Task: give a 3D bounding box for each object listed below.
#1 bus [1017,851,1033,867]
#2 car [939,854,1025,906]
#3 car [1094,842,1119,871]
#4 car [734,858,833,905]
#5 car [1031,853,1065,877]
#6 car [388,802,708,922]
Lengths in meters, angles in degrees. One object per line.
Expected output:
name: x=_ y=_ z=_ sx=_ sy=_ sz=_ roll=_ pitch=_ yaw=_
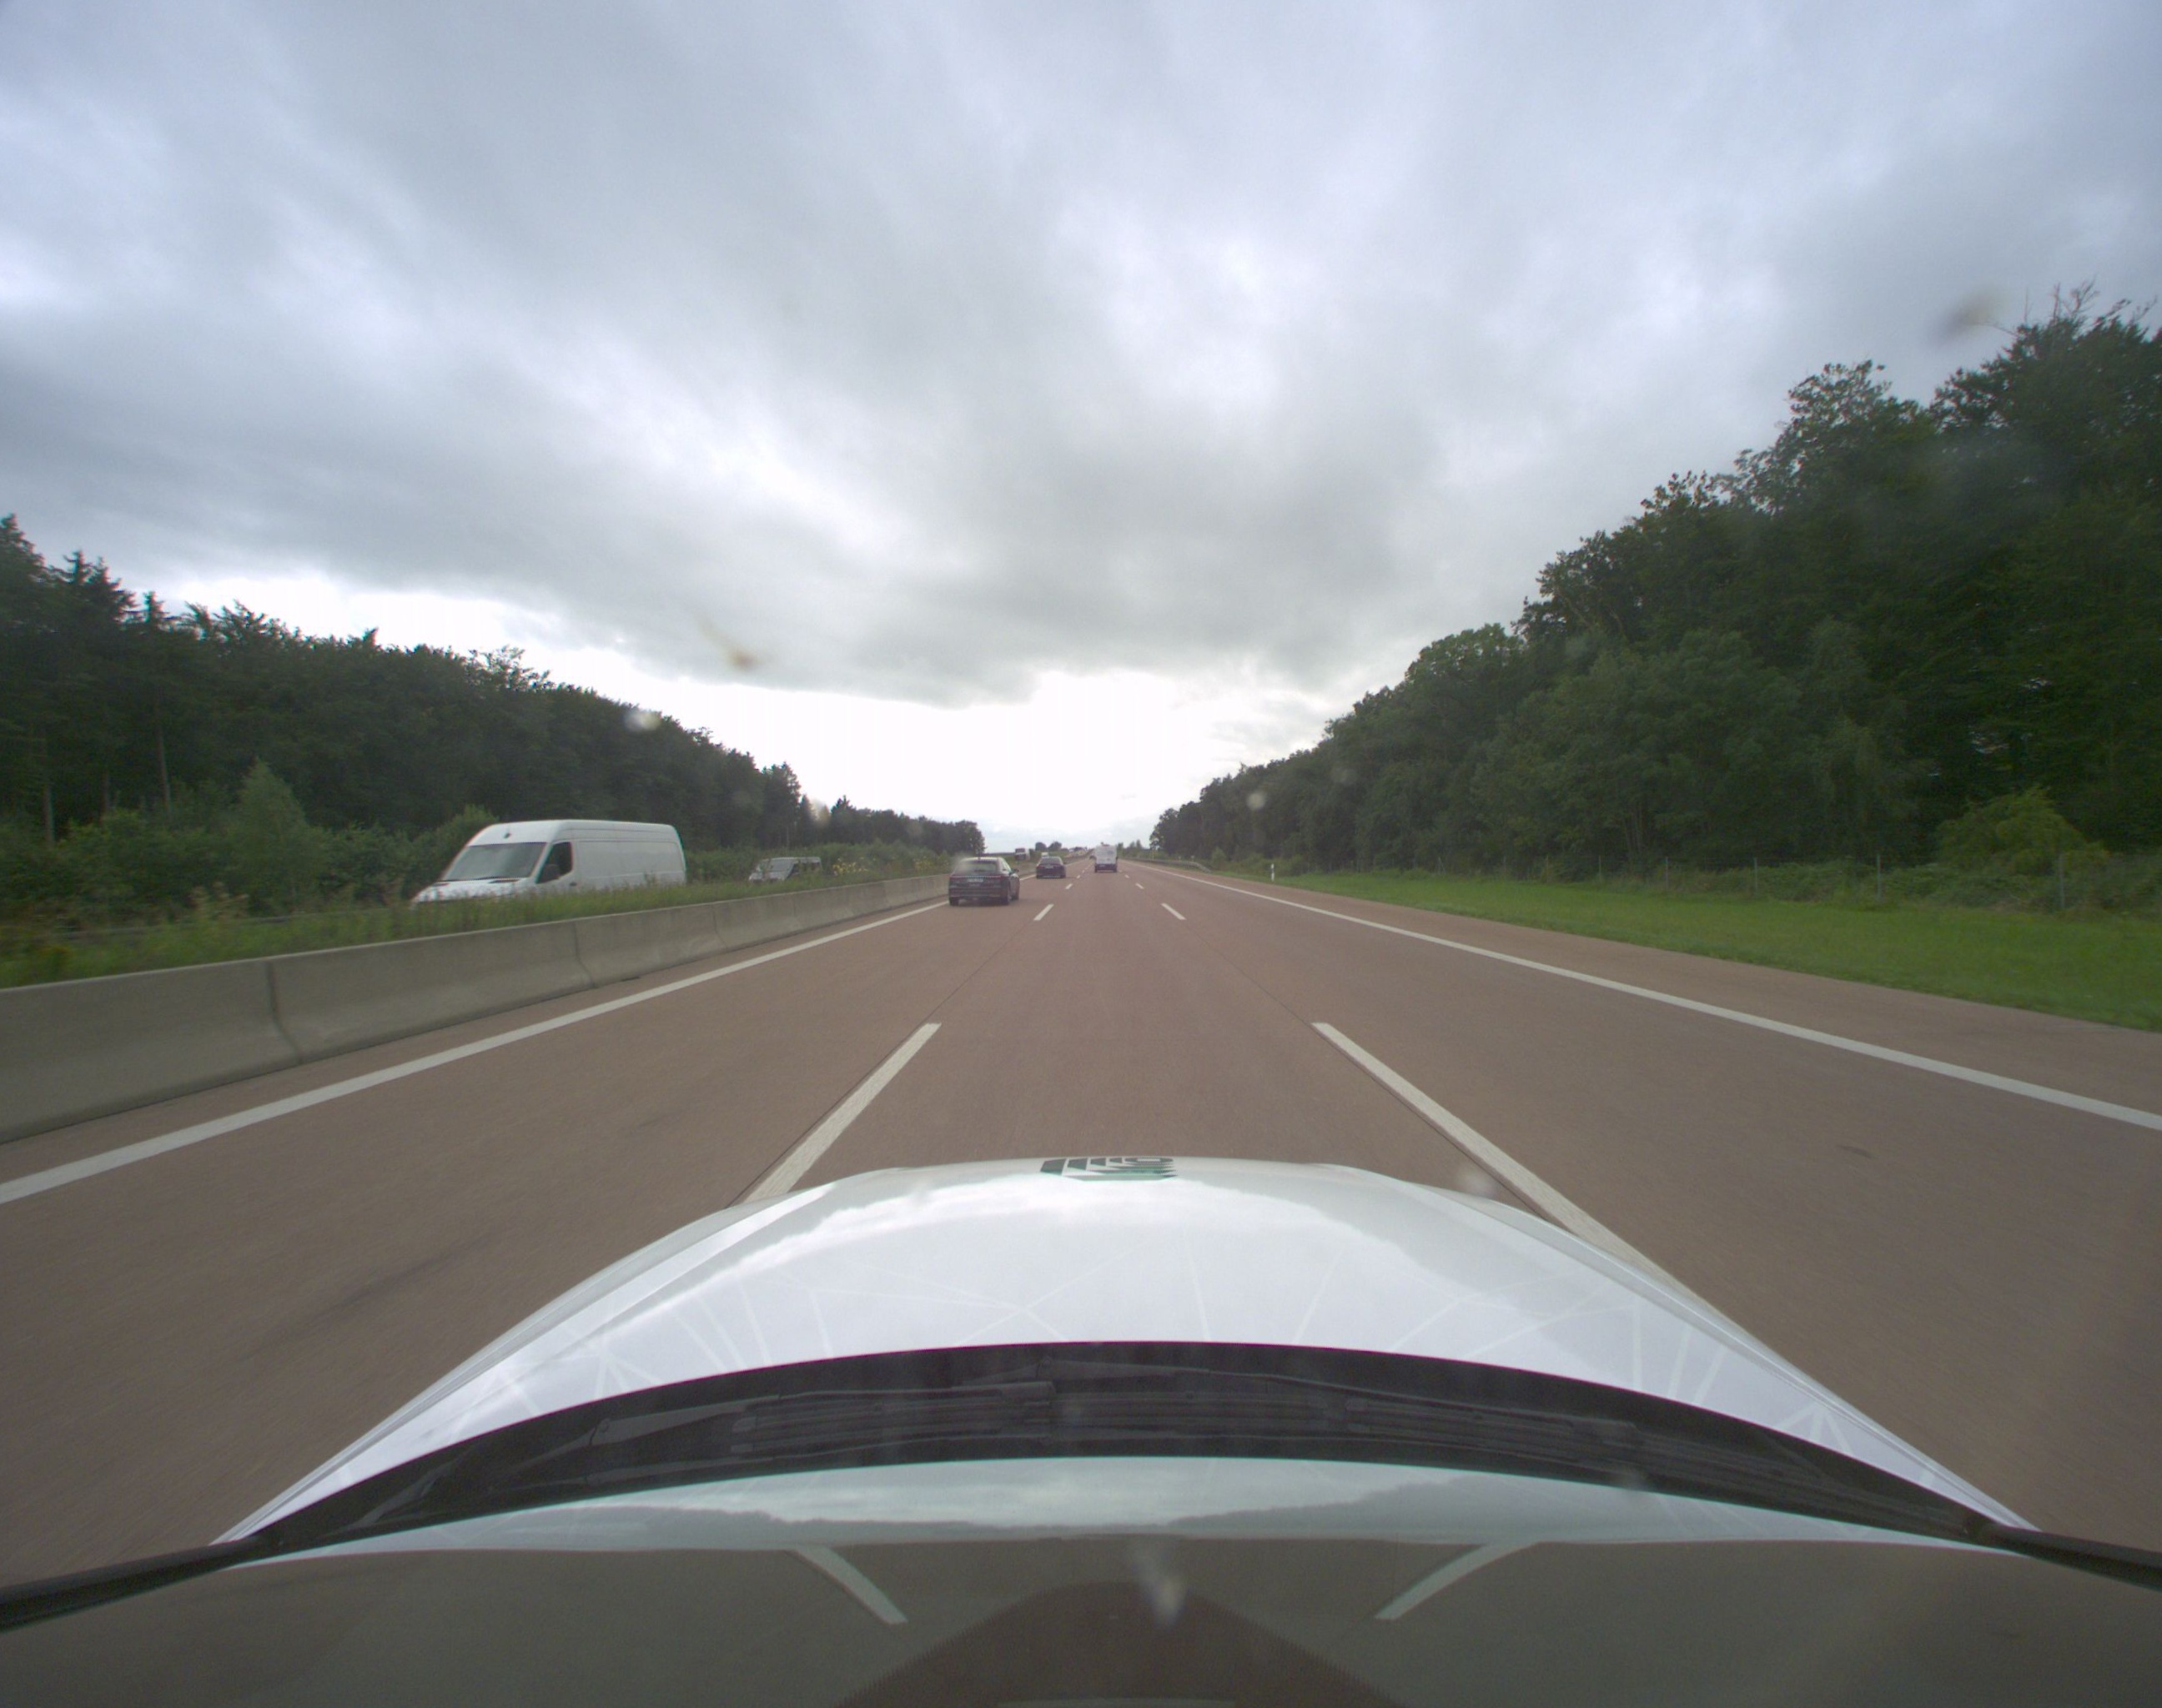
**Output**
bus: x=-14.076 y=1.171 z=205.721 sx=3.038 sy=3.888 sz=14.362 roll=0 pitch=0 yaw=0
car: x=-3.104 y=0.762 z=26.733 sx=2.052 sy=1.491 sz=5.454 roll=0 pitch=0 yaw=1
car: x=2.333 y=0.210 z=74.187 sx=2.129 sy=2.507 sz=7.134 roll=-1 pitch=0 yaw=2
car: x=-13.945 y=1.220 z=38.759 sx=2.214 sy=2.013 sz=6.380 roll=0 pitch=0 yaw=1
car: x=-2.204 y=0.730 z=55.838 sx=2.079 sy=1.550 sz=5.672 roll=0 pitch=0 yaw=-1
car: x=-11.220 y=0.146 z=18.272 sx=2.065 sy=2.141 sz=7.490 roll=0 pitch=0 yaw=2
